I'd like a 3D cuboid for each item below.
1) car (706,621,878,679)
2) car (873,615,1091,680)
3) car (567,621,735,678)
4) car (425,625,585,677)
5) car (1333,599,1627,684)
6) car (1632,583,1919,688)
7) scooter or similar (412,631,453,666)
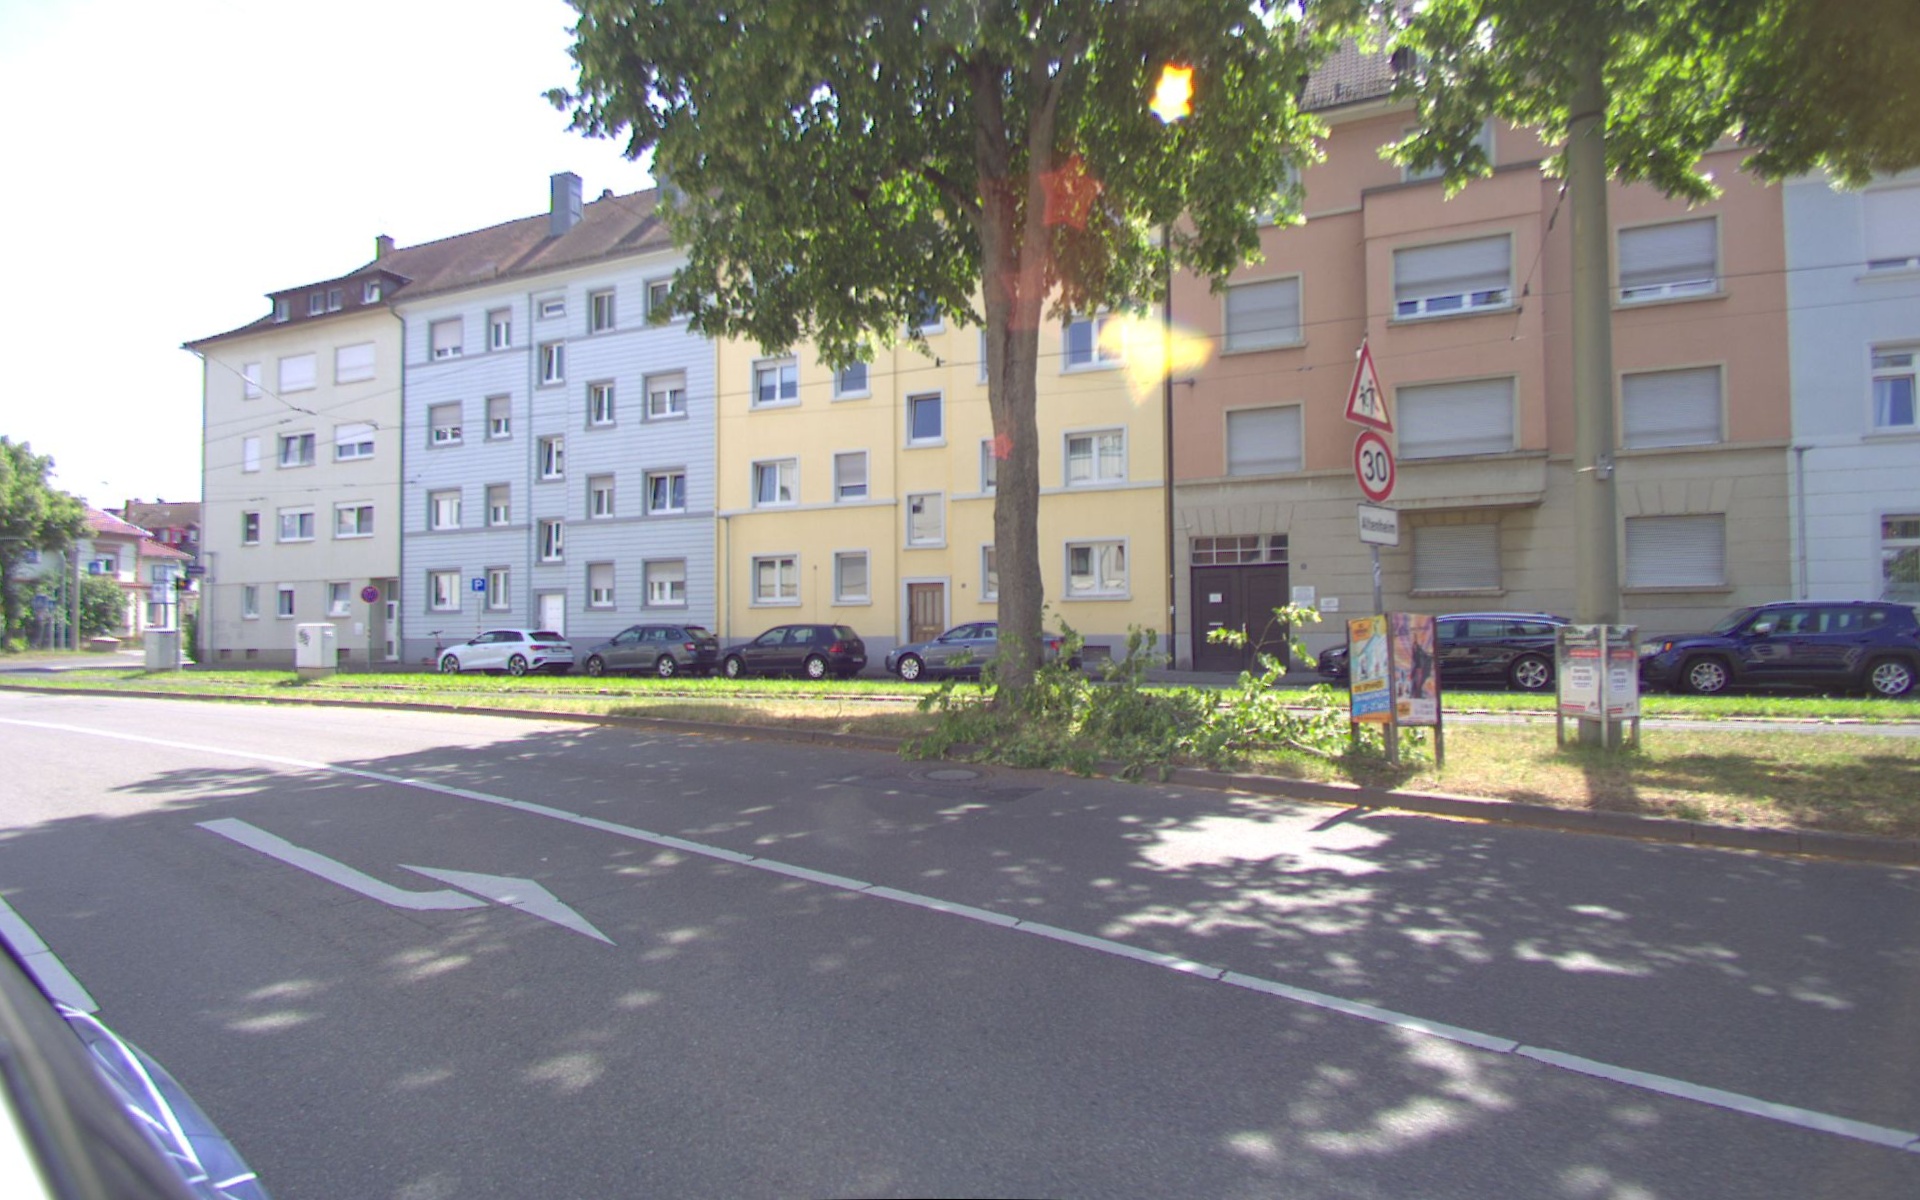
[{"bbox_3d":[-4.365,1.318,26.313,4.117,1.411,1.821,-2,-3,25],"label":"car"},{"bbox_3d":[0.494,1.151,24.033,4.835,1.409,1.917,-2,-4,25],"label":"car"},{"bbox_3d":[-8.688,1.408,28.495,4.297,1.516,1.919,-2,-3,22],"label":"car"},{"bbox_3d":[-13.684,1.571,30.452,4.346,1.463,1.919,-2,-4,22],"label":"car"},{"bbox_3d":[9.933,0.849,19.772,4.834,1.502,1.918,-2,-4,24],"label":"car"},{"bbox_3d":[14.509,0.660,17.822,4.117,1.698,1.827,-2,-4,24],"label":"car"},{"bbox_3d":[-18.988,1.736,36.450,1.313,1.232,0.635,-1,-1,24],"label":"scooter or similar"}]
